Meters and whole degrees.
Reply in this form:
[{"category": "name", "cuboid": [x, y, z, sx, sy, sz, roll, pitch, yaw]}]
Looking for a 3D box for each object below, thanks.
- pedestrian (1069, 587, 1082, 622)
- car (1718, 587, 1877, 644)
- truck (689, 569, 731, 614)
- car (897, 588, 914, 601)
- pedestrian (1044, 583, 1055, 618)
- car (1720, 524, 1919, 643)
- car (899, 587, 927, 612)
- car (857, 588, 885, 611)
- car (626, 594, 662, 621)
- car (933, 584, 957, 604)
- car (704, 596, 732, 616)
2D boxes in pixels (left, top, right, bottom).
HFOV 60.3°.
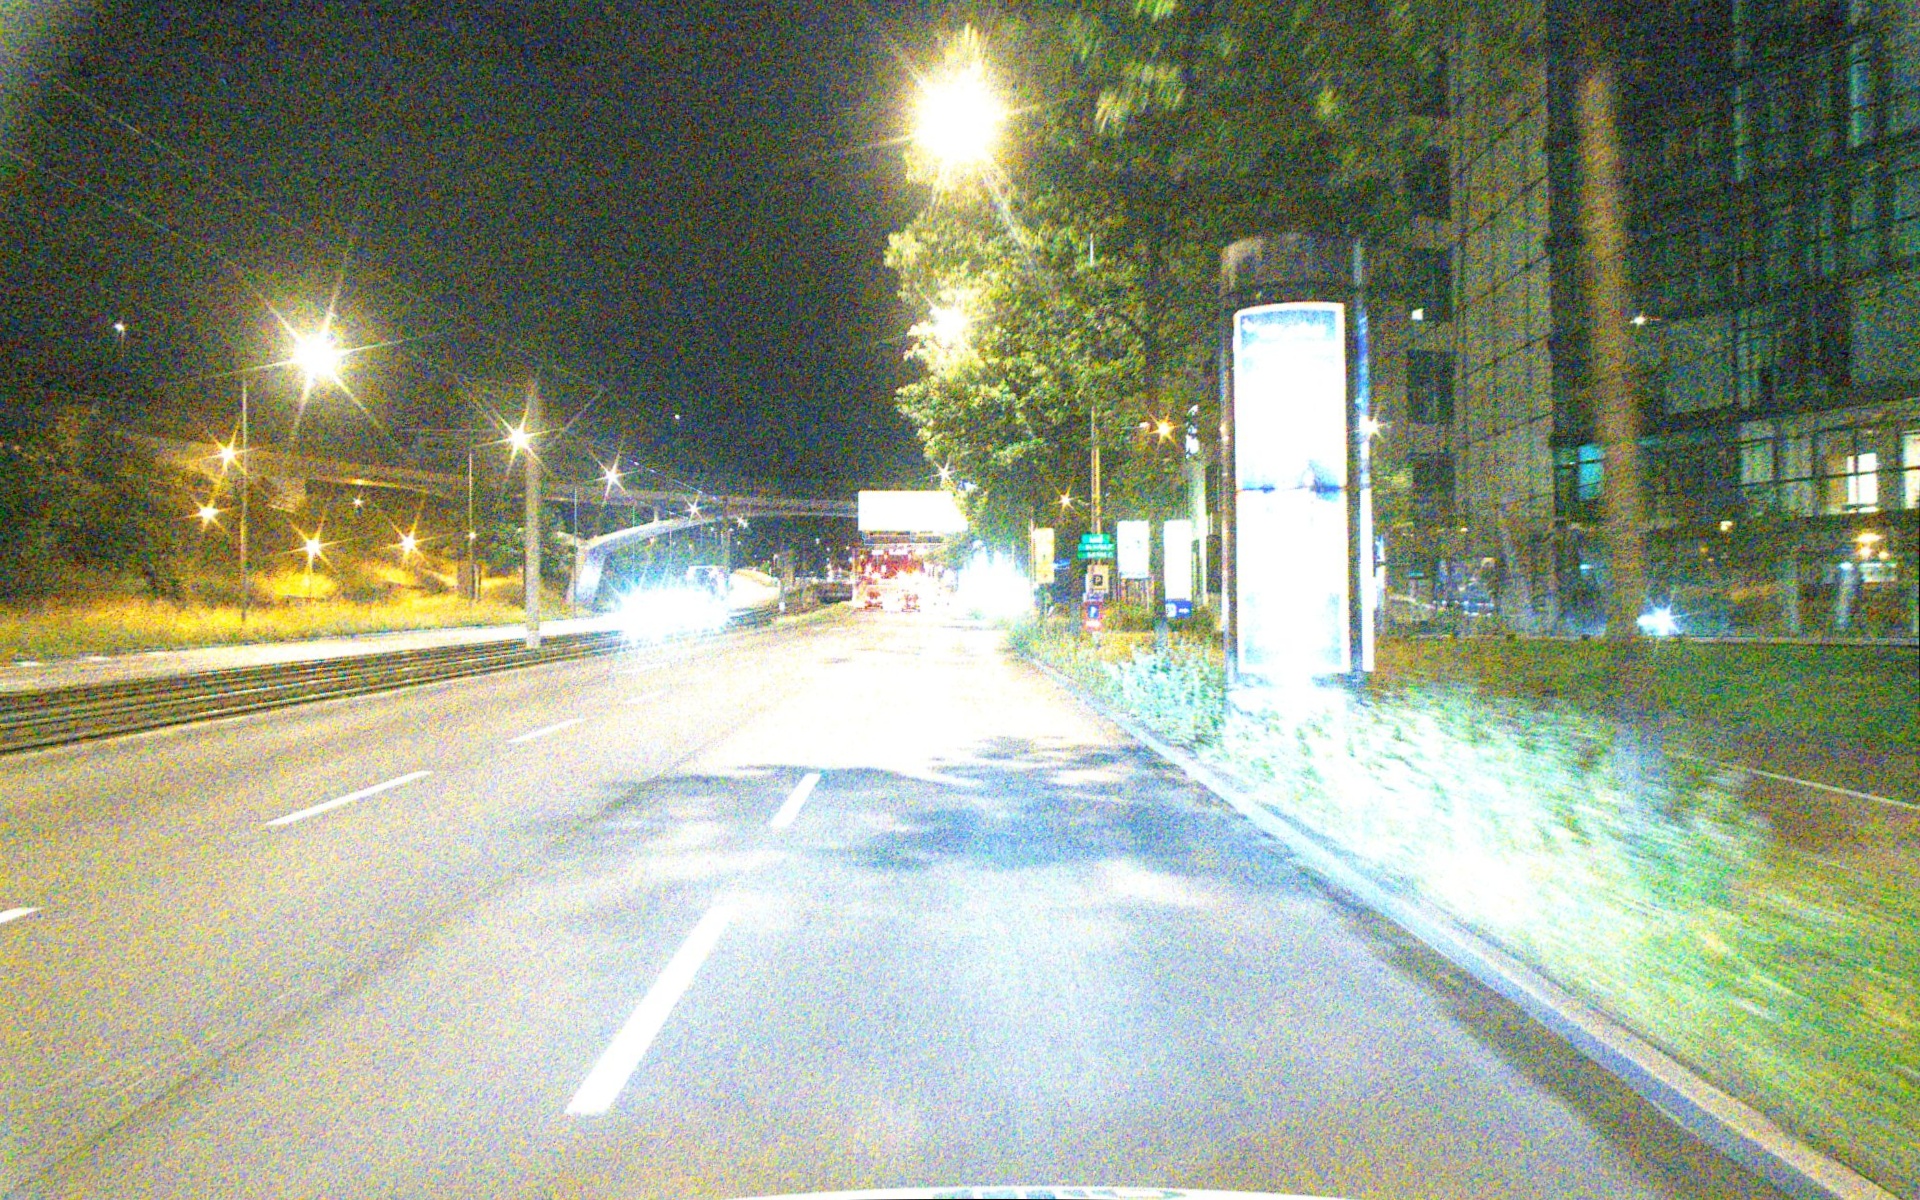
[{"category": "pedestrian", "cuboid": [6.973, 0.253, 99.559, 0.746, 2.099, 0.643, 0, 1, -1]}, {"category": "car", "cuboid": [17.290, 0.302, 34.131, 3.120, 1.104, 1.291, 0, 1, -25]}, {"category": "truck", "cuboid": [-22.284, -0.779, 147.532, 2.979, 3.886, 4.934, 0, 1, -1]}, {"category": "car", "cuboid": [-6.273, -0.637, 190.790, 1.953, 1.580, 3.999, 0, 0, -1]}, {"category": "pedestrian", "cuboid": [6.355, 0.028, 117.488, 0.729, 2.477, 0.780, 1, 0, 2]}, {"category": "car", "cuboid": [15.024, -0.290, 28.023, 3.715, 1.895, 1.985, 0, 1, -24]}, {"category": "car", "cuboid": [-4.302, -0.061, 151.803, 2.307, 2.166, 4.828, 0, 1, 2]}, {"category": "car", "cuboid": [-8.455, -0.054, 157.500, 2.215, 2.049, 4.828, 0, 1, 2]}, {"category": "car", "cuboid": [-21.542, 0.482, 112.862, 1.825, 1.780, 3.700, 0, 1, -1]}, {"category": "car", "cuboid": [-1.604, -0.674, 182.225, 2.377, 2.150, 4.828, 0, 1, 2]}, {"category": "car", "cuboid": [-19.768, 0.485, 135.254, 1.872, 1.499, 3.771, 0, 1, -1]}]
